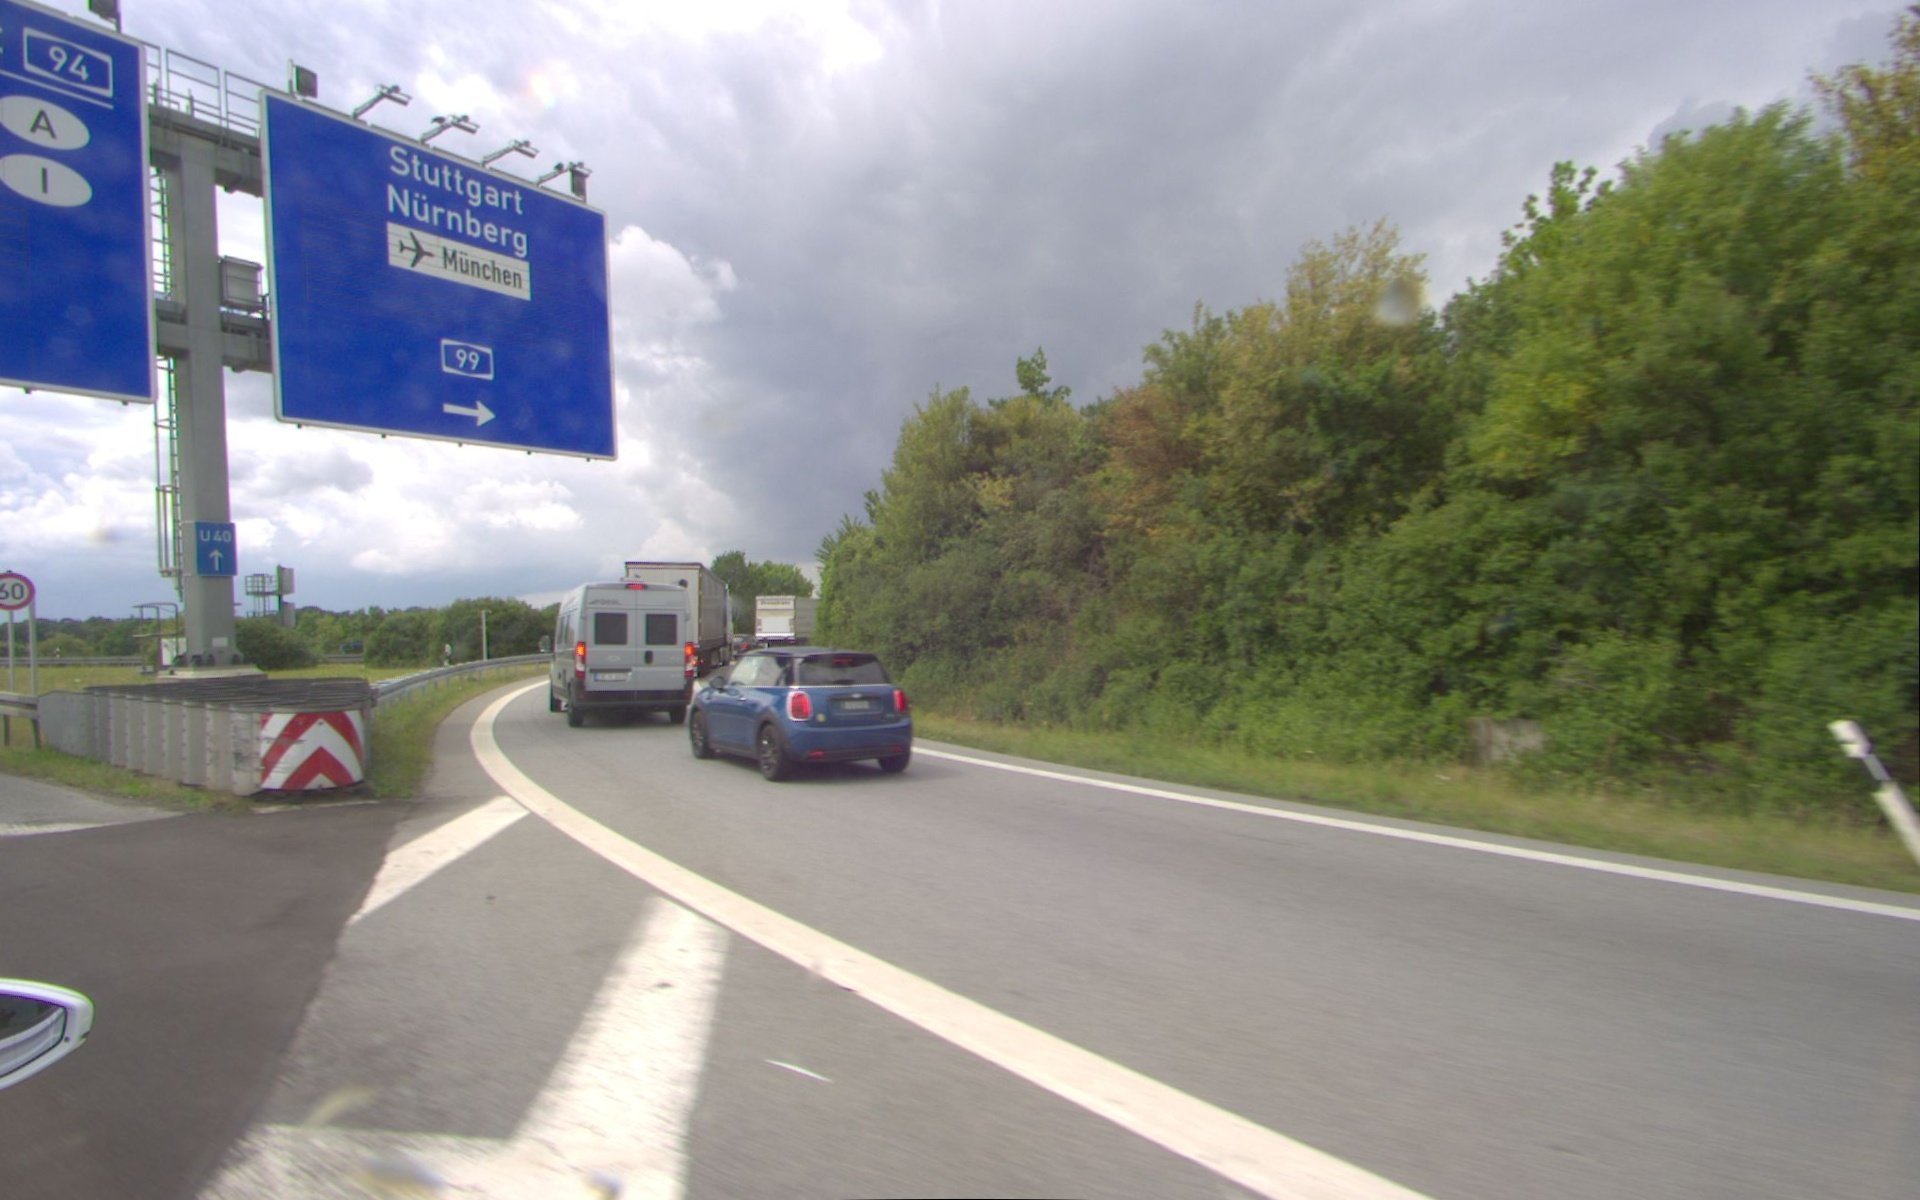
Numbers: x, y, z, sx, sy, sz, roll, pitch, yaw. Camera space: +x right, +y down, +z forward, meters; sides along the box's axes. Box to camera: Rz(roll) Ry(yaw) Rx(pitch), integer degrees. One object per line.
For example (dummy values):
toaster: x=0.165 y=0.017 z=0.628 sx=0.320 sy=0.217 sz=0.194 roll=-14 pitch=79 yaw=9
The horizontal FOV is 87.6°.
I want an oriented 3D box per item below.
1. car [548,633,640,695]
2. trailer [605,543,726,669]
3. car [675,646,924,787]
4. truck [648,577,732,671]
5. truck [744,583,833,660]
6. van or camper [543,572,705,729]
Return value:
car: x=-10.045 y=1.698 z=27.729 sx=2.175 sy=1.520 sz=4.778 roll=-1 pitch=-2 yaw=-19
trailer: x=-11.527 y=0.425 z=40.577 sx=3.278 sy=4.246 sz=13.029 roll=0 pitch=-2 yaw=-10
car: x=-2.102 y=1.291 z=12.283 sx=1.712 sy=1.437 sz=3.645 roll=1 pitch=-3 yaw=-33
truck: x=-12.827 y=1.184 z=48.170 sx=3.307 sy=4.147 sz=6.787 roll=0 pitch=-2 yaw=-10
truck: x=-11.061 y=1.454 z=65.755 sx=3.220 sy=4.674 sz=8.992 roll=-1 pitch=-2 yaw=8
van or camper: x=-6.844 y=0.927 z=19.852 sx=2.265 sy=2.601 sz=6.138 roll=0 pitch=-1 yaw=-26
